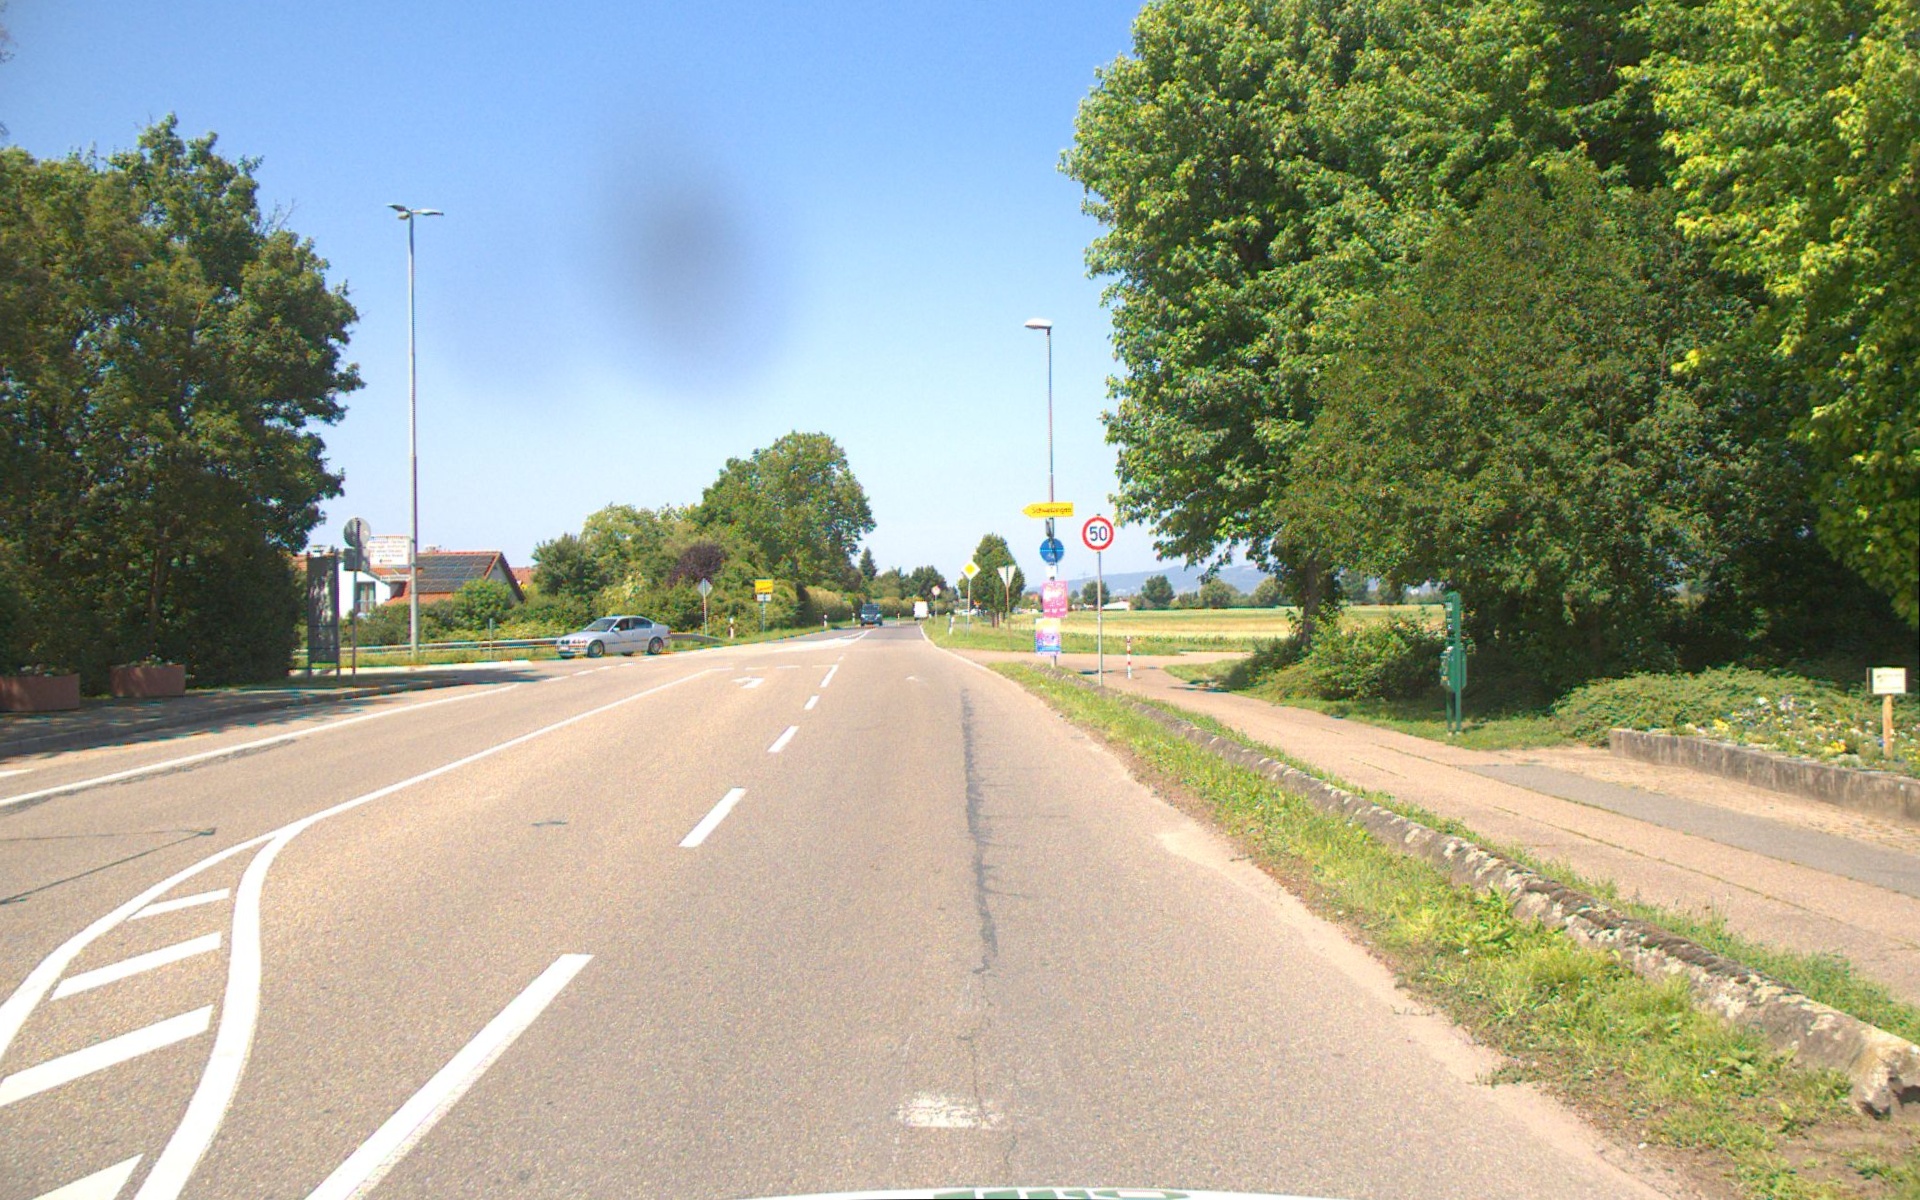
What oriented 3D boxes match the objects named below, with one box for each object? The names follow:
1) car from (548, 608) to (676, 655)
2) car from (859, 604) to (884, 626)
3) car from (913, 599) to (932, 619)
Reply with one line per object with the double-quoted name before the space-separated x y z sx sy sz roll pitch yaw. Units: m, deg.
"car" -12.141 1.087 57.857 1.609 1.496 4.397 -2 0 37
"car" -8.322 1.383 155.539 2.100 1.985 5.246 -2 0 -1
"car" -5.328 1.295 235.945 1.951 2.697 4.004 -2 0 11
